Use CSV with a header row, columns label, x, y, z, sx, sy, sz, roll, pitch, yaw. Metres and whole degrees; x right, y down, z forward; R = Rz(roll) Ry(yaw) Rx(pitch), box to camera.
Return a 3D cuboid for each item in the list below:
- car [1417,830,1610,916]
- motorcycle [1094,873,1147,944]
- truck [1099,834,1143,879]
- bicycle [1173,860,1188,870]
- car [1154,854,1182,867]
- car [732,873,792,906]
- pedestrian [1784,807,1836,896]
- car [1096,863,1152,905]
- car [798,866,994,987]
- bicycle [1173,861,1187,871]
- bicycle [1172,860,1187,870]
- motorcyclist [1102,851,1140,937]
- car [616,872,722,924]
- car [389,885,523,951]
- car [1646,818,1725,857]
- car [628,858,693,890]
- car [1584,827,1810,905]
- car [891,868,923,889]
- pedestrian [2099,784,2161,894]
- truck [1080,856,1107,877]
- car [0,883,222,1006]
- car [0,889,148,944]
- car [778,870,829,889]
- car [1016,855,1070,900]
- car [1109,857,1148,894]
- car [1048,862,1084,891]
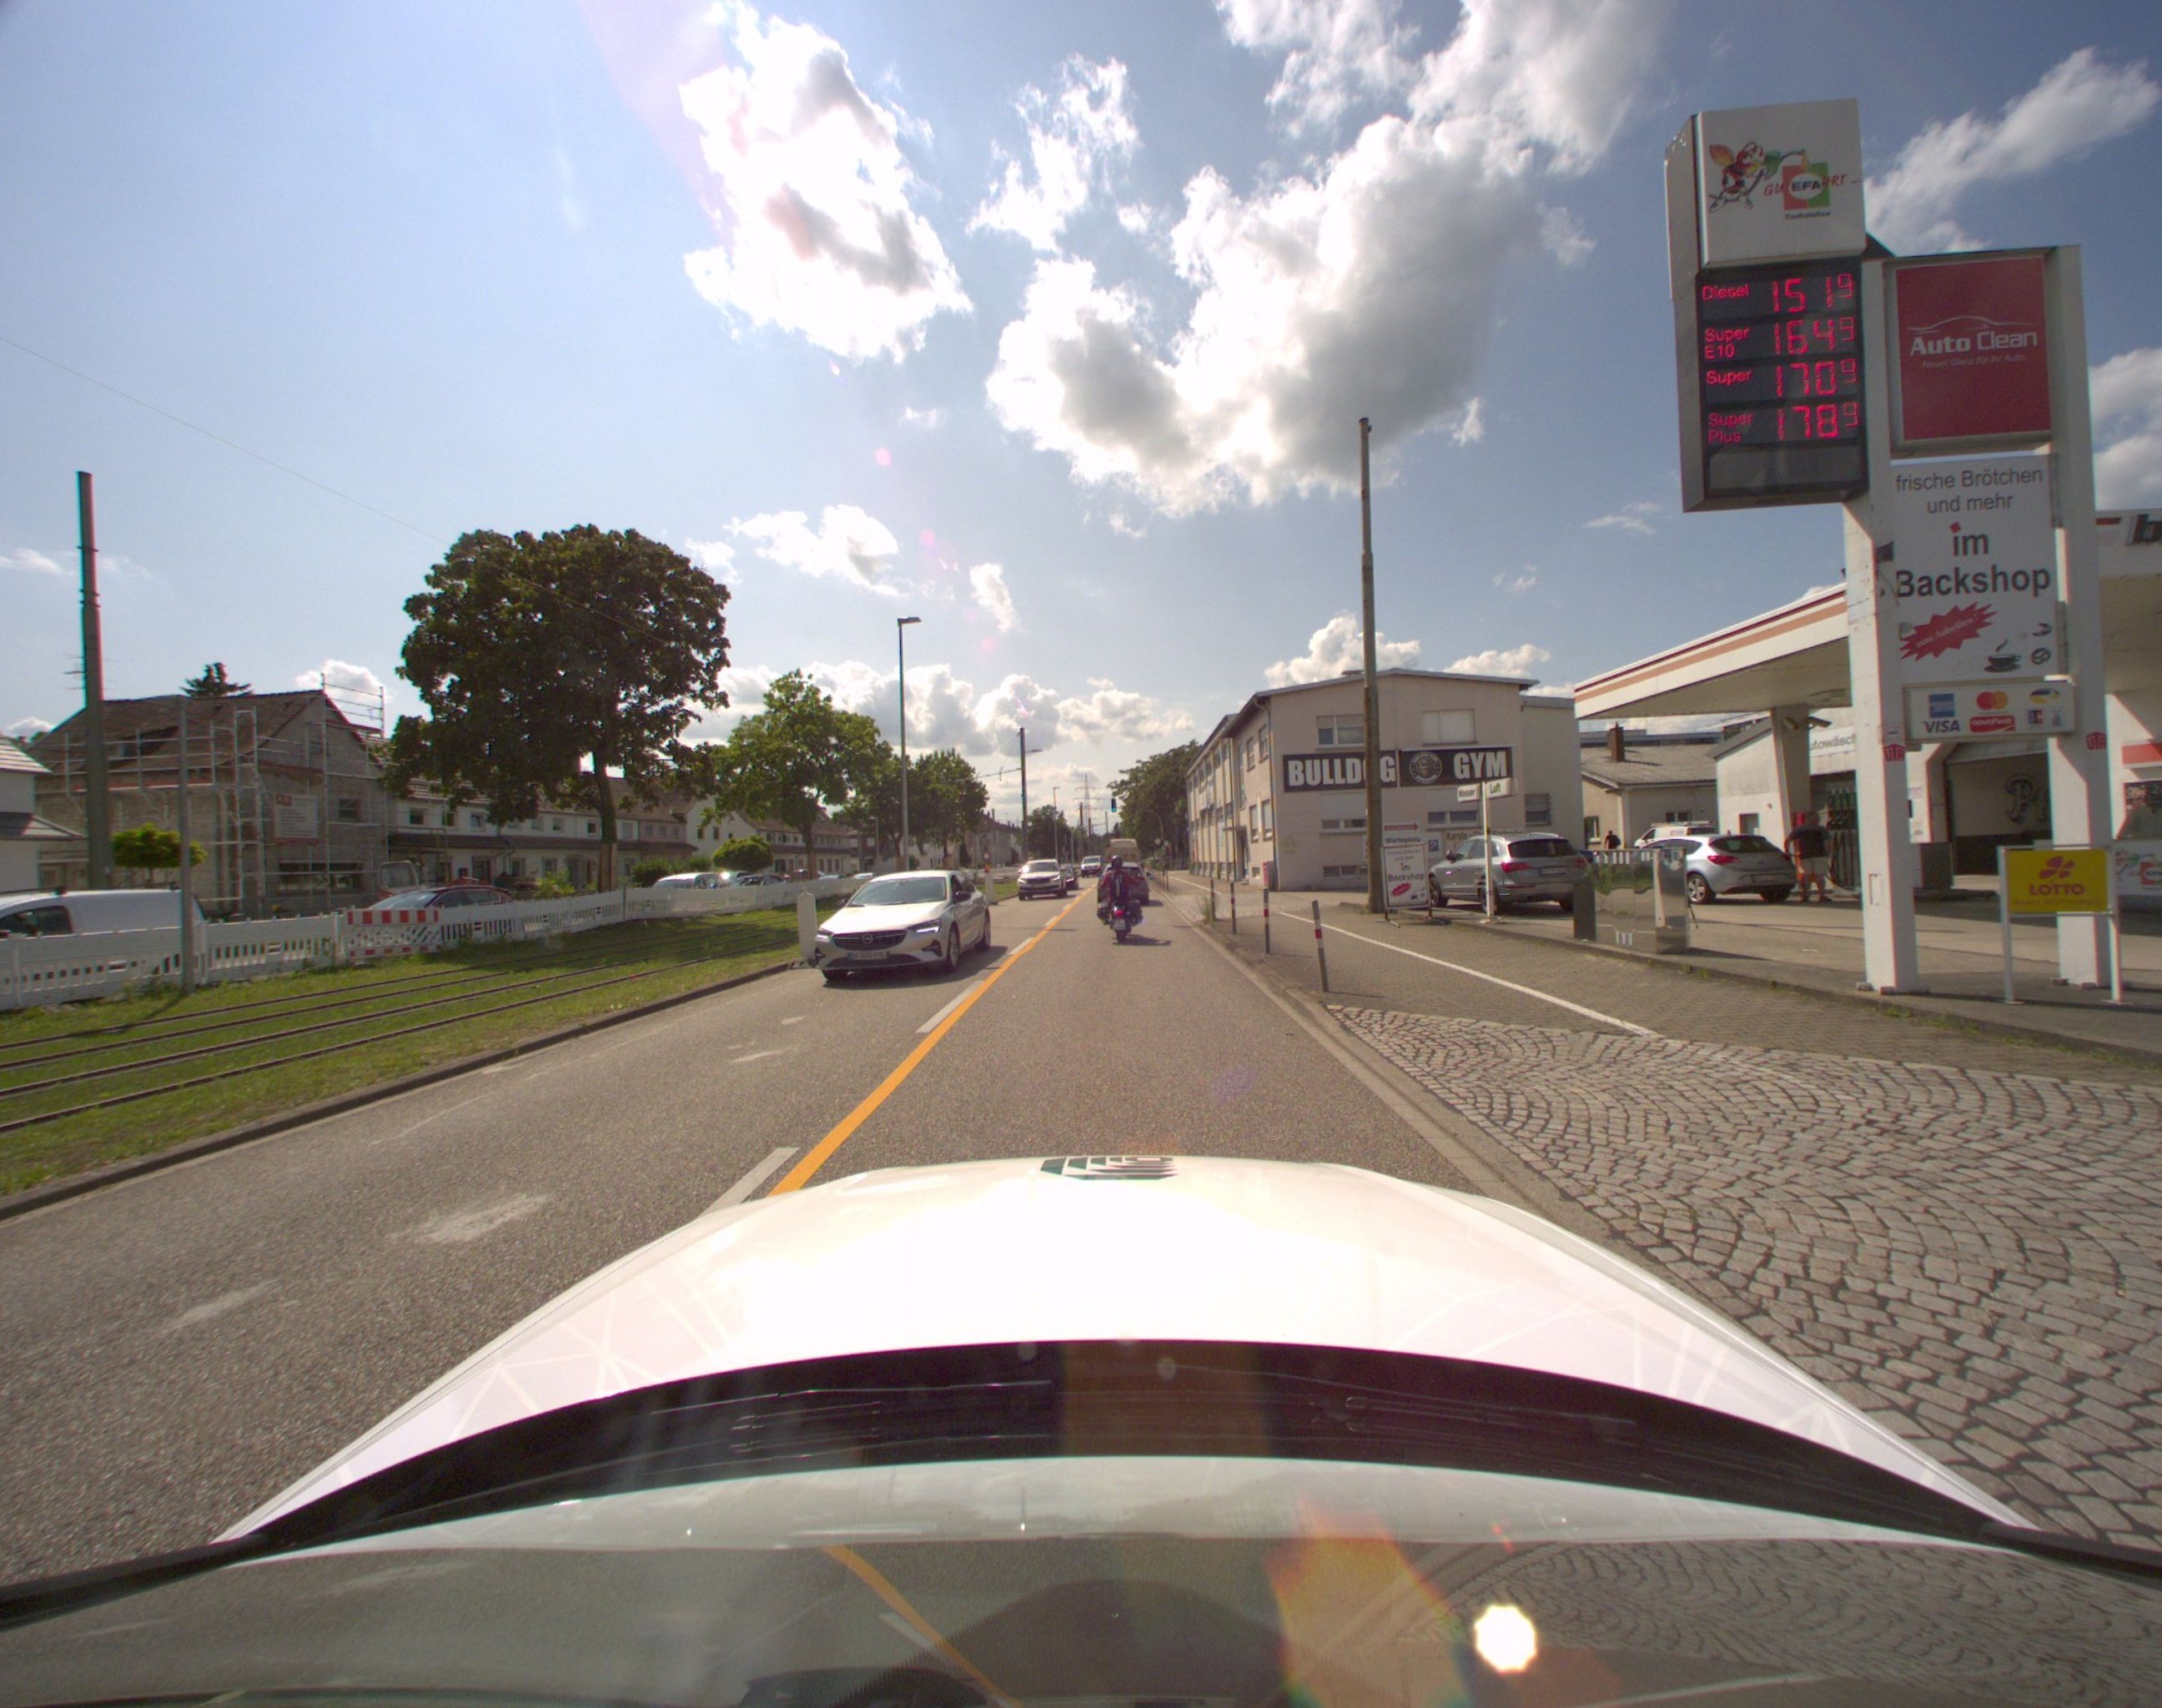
label,x,y,z,sx,sy,sz,roll,pitch,yaw
car,9.270,0.392,17.979,1.938,1.625,4.618,-1,-1,2
motorcycle,0.765,0.997,15.688,0.939,1.200,2.474,0,0,3
truck,3.145,0.261,62.379,2.953,3.173,7.775,-1,-1,6
bicycle,11.947,1.345,97.643,1.698,1.172,0.439,-1,-1,8
car,12.591,0.962,117.791,4.021,1.926,1.781,1,-2,-42
car,-14.549,1.600,37.304,1.344,1.377,3.116,-3,-1,3
pedestrian,14.719,-0.043,16.457,0.495,1.777,0.577,0,-1,0
car,1.468,1.014,29.129,1.726,1.404,4.083,0,-1,-2
car,-2.608,0.971,12.645,1.814,1.445,4.485,-3,-1,2
bicycle,11.948,1.408,98.191,1.698,1.172,0.439,-1,-1,8
bicycle,11.952,1.379,98.758,1.698,1.172,0.439,-1,-1,8
motorcyclist,0.769,0.764,15.618,0.695,1.604,0.692,-1,-1,3
car,-14.721,1.533,29.321,1.616,1.651,3.902,-3,-1,3
car,-14.787,1.481,19.387,1.067,1.348,2.453,-3,-1,6
car,34.174,-0.880,46.167,1.780,2.032,3.847,-1,-1,3
car,-27.064,1.276,52.598,1.986,2.014,4.002,-1,-1,2
car,13.612,0.282,18.393,1.686,1.471,4.422,-3,-1,0
car,-13.115,1.839,61.543,1.537,1.376,4.247,-5,0,-3
pedestrian,17.162,-0.234,13.121,0.614,1.722,0.687,-1,-1,3
truck,1.232,1.103,75.932,1.809,1.909,5.128,0,0,9
car,-15.451,1.305,11.777,1.646,1.626,4.003,-3,-1,3
car,-27.373,1.635,21.078,1.527,1.275,4.123,-3,-1,3
car,-25.033,2.269,73.572,3.971,1.510,1.726,-3,-1,1
car,-1.549,0.983,34.736,1.817,1.666,4.465,-3,-1,2
car,2.538,1.077,42.980,1.892,1.712,4.725,-2,1,4
car,-0.804,1.242,45.805,1.686,1.412,3.861,-6,-1,2
